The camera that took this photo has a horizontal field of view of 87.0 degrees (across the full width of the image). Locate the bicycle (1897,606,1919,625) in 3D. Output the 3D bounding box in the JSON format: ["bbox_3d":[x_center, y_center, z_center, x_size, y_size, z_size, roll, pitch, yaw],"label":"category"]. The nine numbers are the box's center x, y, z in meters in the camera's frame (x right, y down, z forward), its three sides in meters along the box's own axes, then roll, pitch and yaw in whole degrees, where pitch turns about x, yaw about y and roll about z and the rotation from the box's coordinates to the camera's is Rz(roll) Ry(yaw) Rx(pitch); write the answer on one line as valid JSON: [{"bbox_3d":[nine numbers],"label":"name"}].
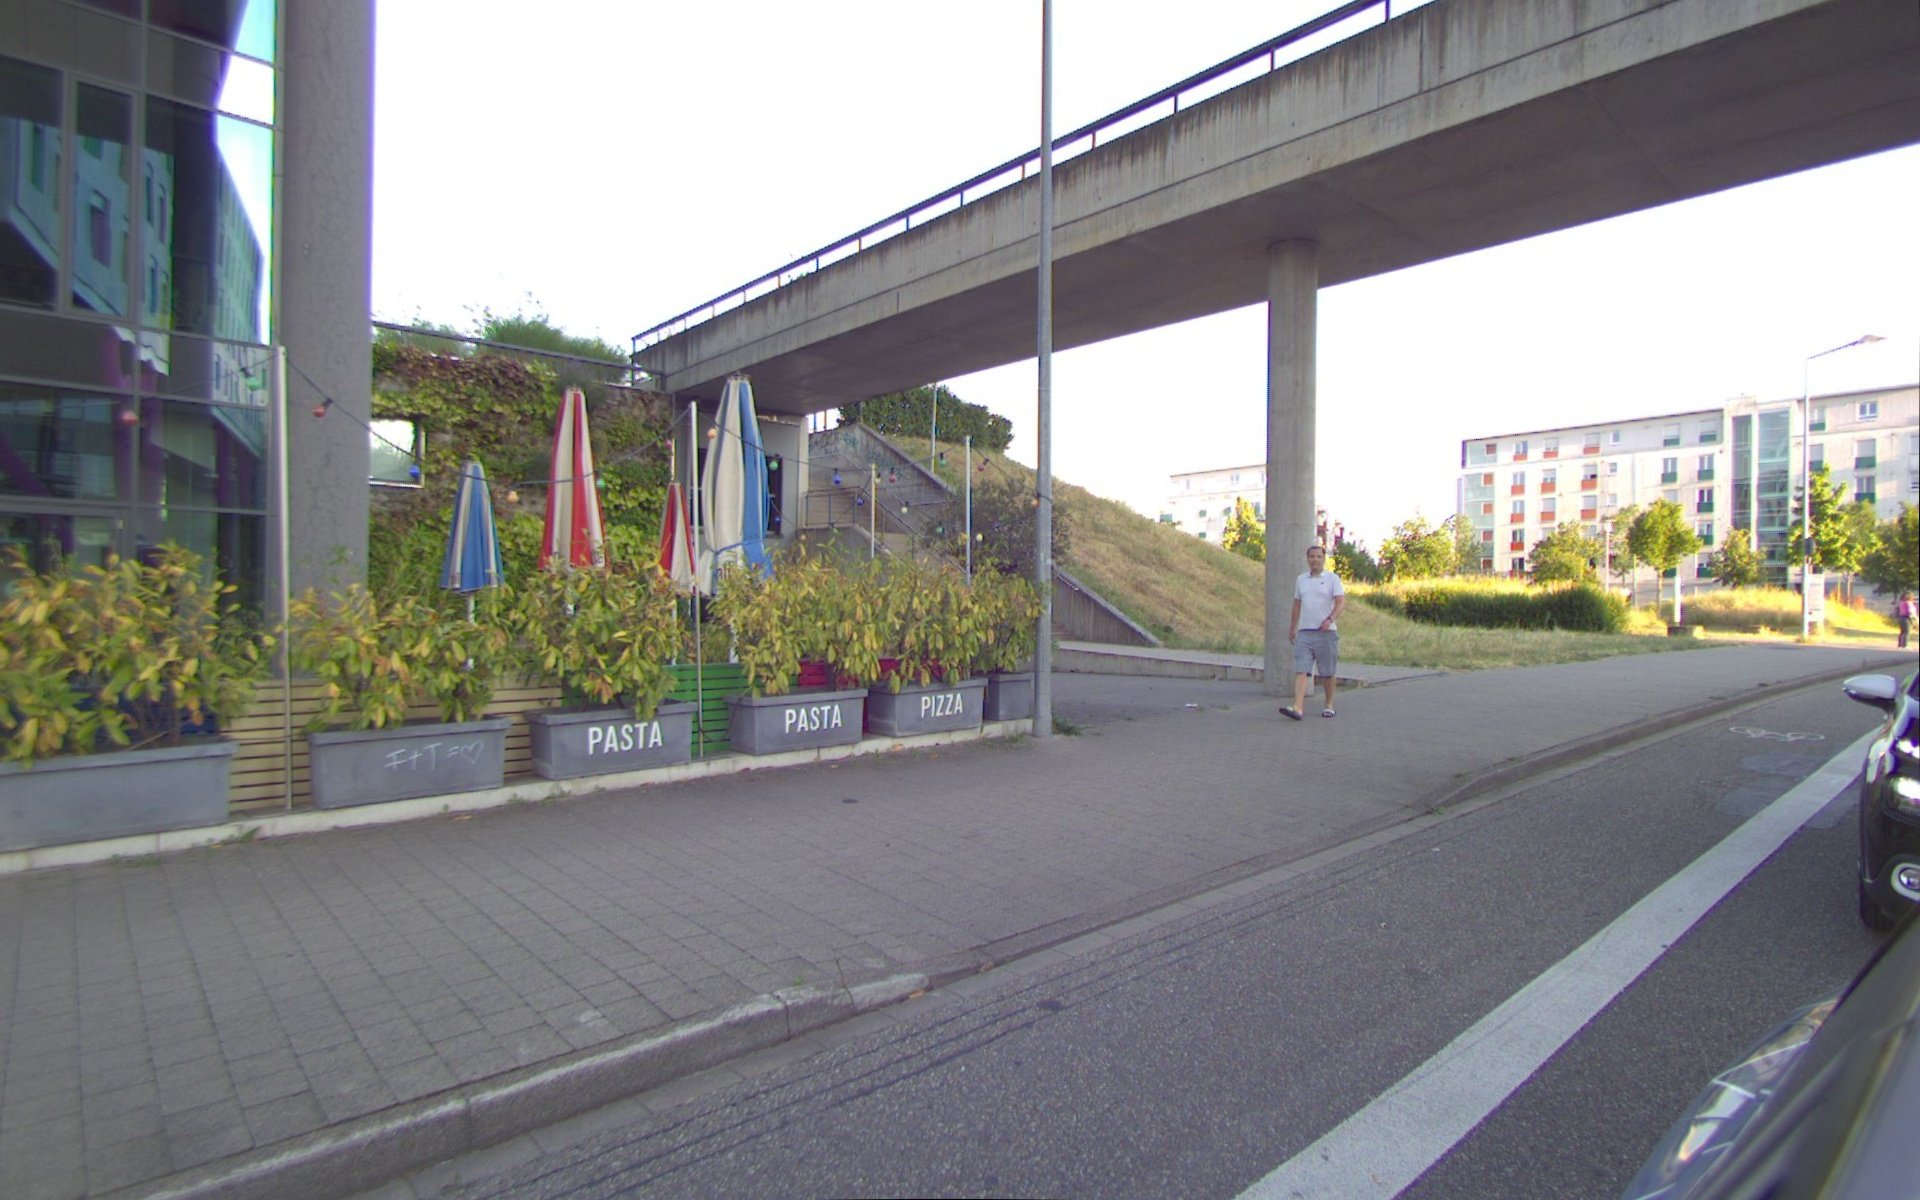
[{"bbox_3d":[62.857,1.001,66.440,0.891,1.163,3.470,0,0,24],"label":"bicycle"}]

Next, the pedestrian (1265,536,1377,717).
[{"bbox_3d":[3.679,0.251,10.310,0.890,1.746,0.737,1,0,-40],"label":"pedestrian"}]

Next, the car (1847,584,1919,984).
[{"bbox_3d":[5.477,0.694,4.536,3.930,1.482,1.738,0,0,-41],"label":"car"}]

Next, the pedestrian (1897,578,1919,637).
[{"bbox_3d":[27.632,0.220,29.176,0.844,1.650,0.737,1,2,-39],"label":"pedestrian"}]

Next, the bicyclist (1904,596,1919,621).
[{"bbox_3d":[62.574,0.551,66.148,0.922,1.615,1.060,0,0,22],"label":"bicyclist"}]
